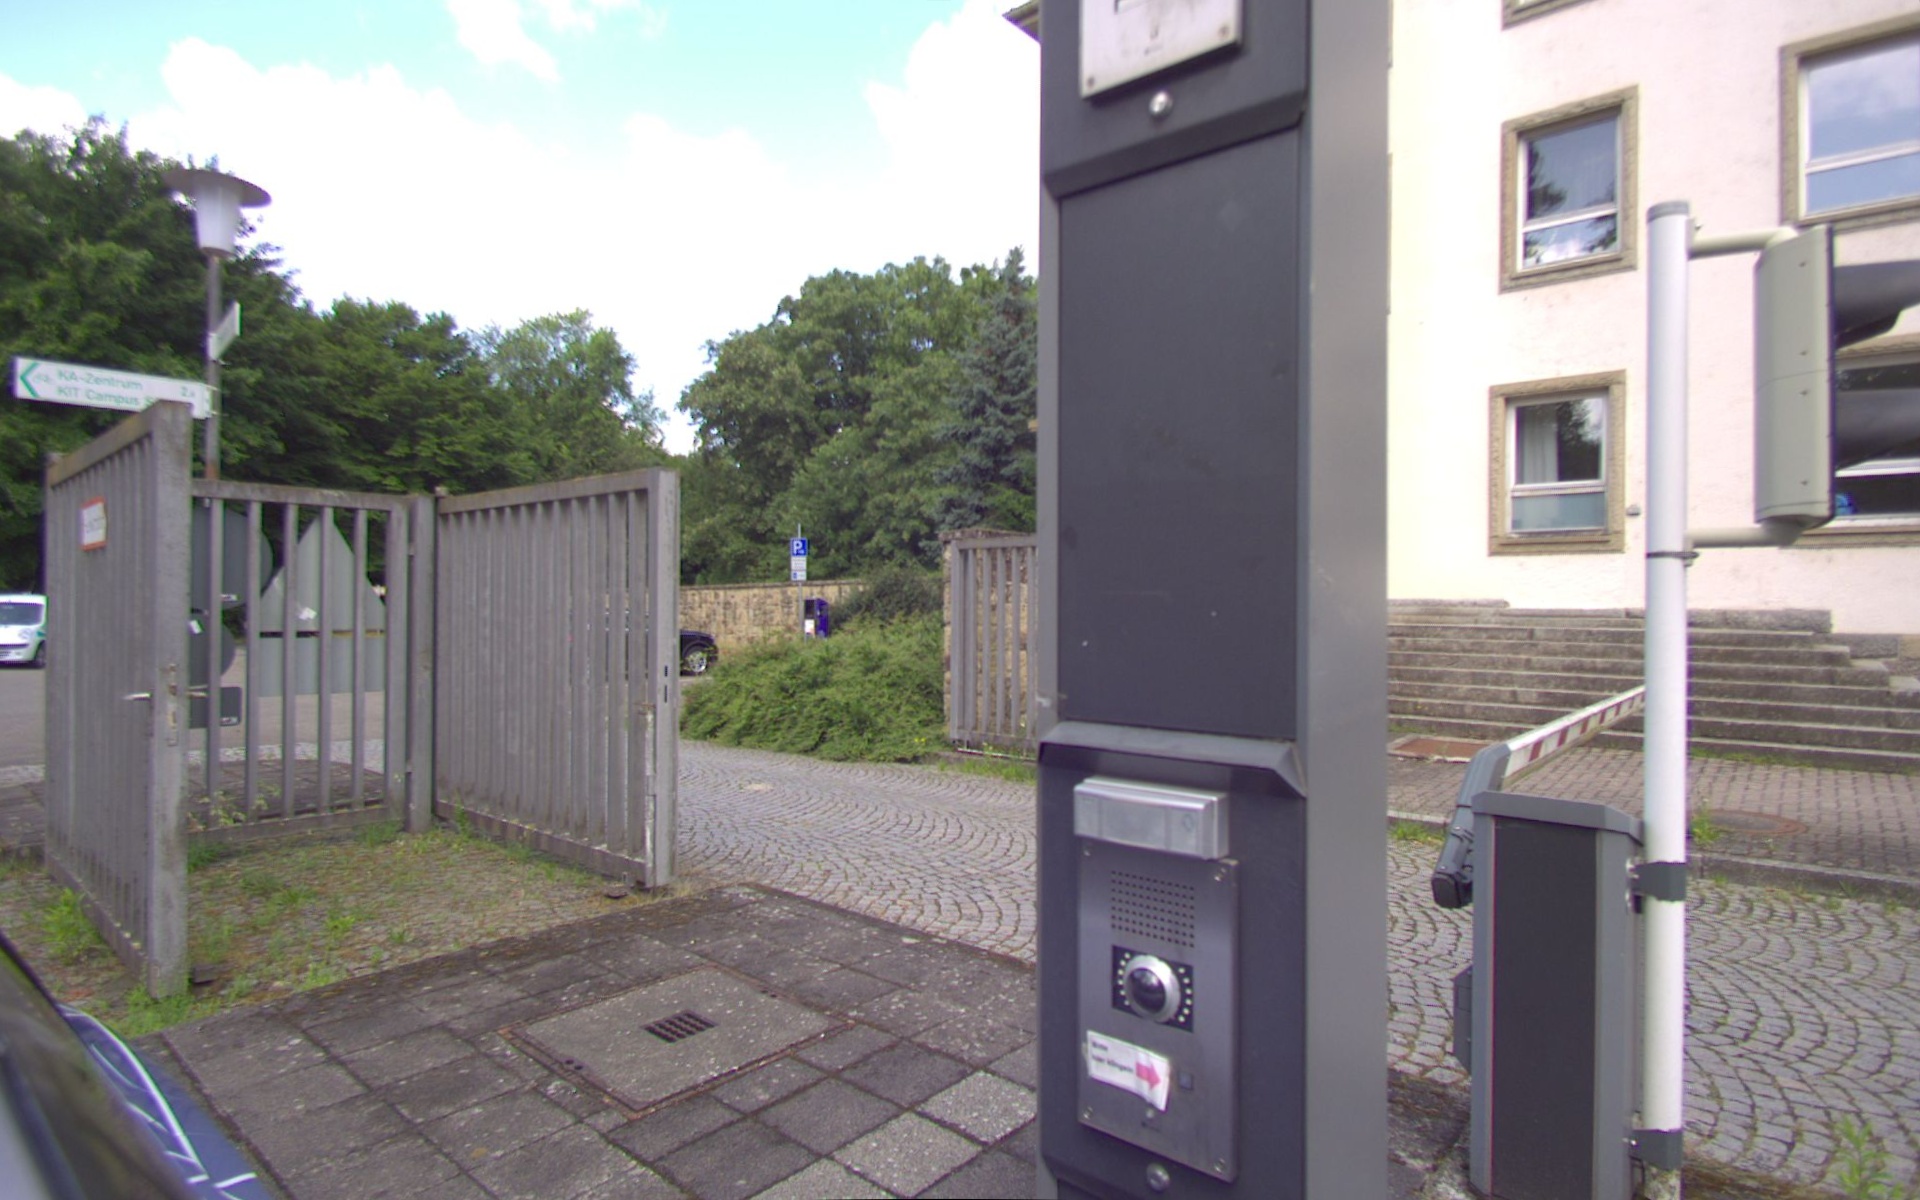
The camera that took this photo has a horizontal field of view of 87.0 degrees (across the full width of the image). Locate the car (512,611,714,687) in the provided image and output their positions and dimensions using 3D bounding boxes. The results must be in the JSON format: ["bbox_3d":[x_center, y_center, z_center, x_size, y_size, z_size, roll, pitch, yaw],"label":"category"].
[{"bbox_3d":[-7.775,1.023,22.878,3.940,1.529,1.804,0,0,-44],"label":"car"}]

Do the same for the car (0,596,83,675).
[{"bbox_3d":[-23.714,0.828,25.235,1.836,1.772,4.162,2,-1,-28],"label":"car"}]
